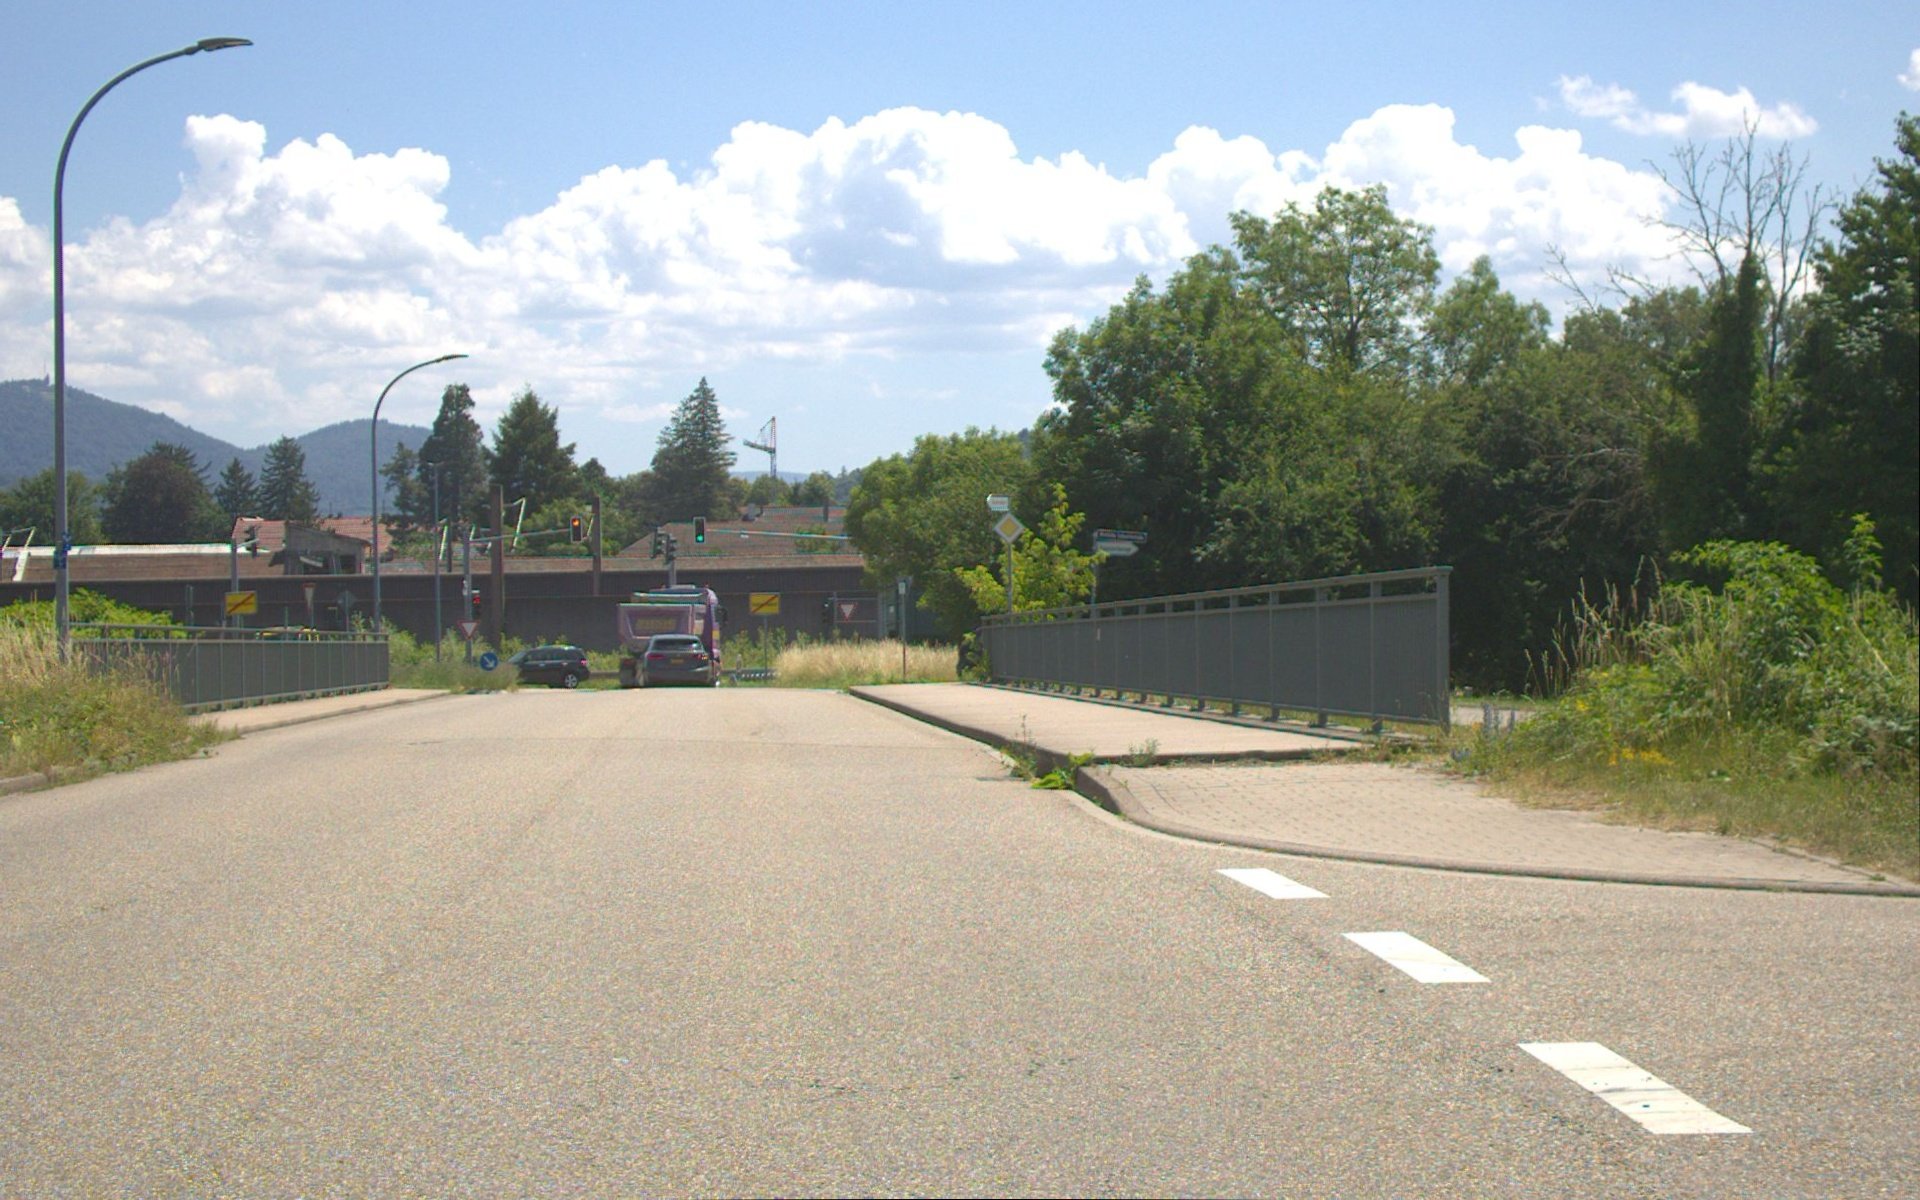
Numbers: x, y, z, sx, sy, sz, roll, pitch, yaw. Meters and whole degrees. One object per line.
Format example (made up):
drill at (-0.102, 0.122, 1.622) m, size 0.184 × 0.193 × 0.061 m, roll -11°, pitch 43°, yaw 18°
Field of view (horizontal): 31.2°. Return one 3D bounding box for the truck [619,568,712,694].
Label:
truck at (-10.312, 1.093, 119.445) m, size 2.995 × 4.166 × 11.809 m, roll 0°, pitch -1°, yaw -6°

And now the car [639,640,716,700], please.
car at (-7.737, 1.894, 93.991) m, size 1.993 × 1.498 × 4.001 m, roll 1°, pitch 0°, yaw -6°

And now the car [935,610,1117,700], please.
car at (1.321, 1.098, 70.100) m, size 1.881 × 1.629 × 3.771 m, roll -2°, pitch 2°, yaw -34°

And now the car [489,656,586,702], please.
car at (-17.689, 3.295, 143.806) m, size 3.986 × 1.696 × 1.909 m, roll -1°, pitch 3°, yaw -8°

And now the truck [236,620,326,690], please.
truck at (-24.540, 1.979, 124.016) m, size 2.310 × 2.330 × 9.053 m, roll -2°, pitch 0°, yaw -16°
